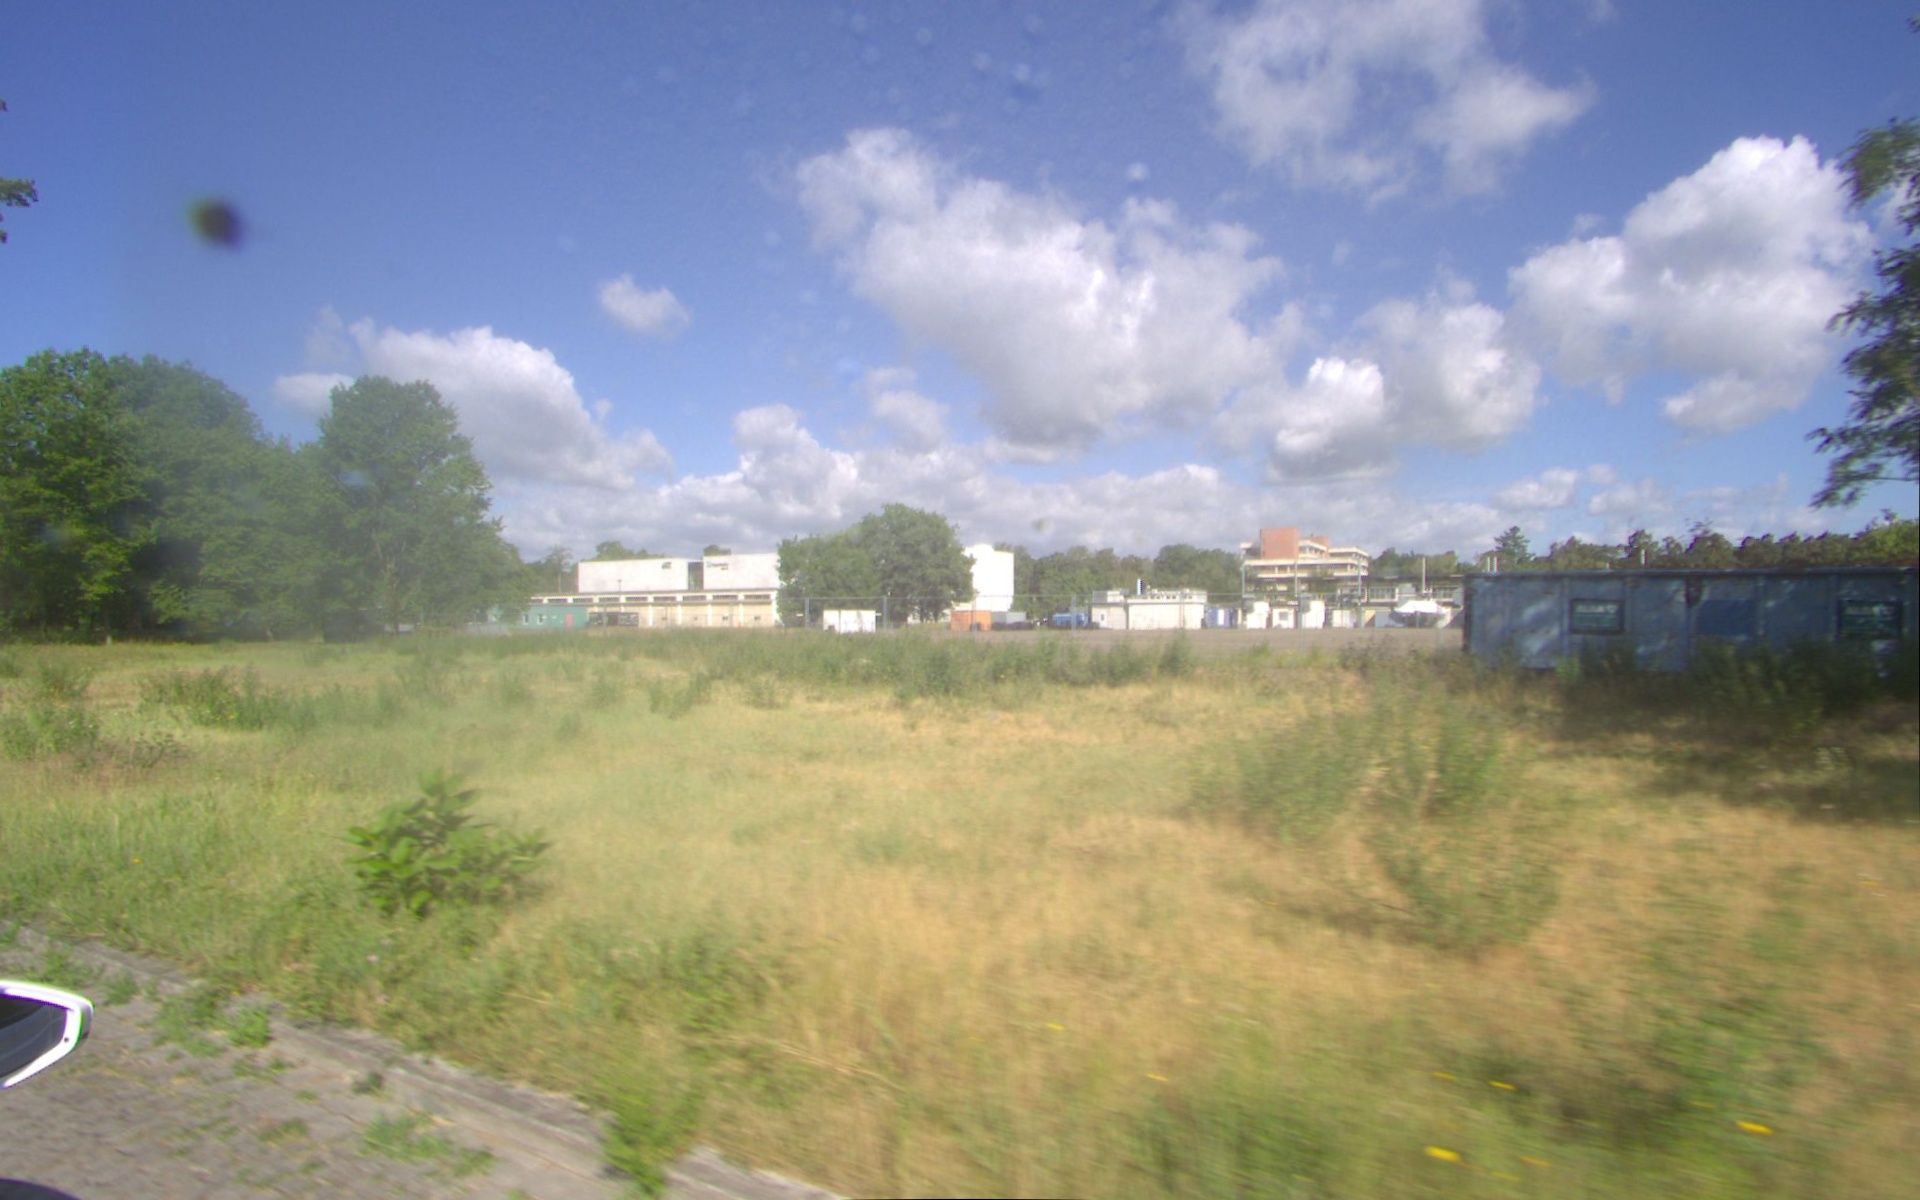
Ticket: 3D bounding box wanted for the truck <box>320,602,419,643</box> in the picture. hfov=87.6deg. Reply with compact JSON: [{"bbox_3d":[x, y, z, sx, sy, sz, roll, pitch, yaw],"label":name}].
[{"bbox_3d":[-37.108,1.409,62.855,6.781,2.454,2.232,-1,-2,29],"label":"truck"}]
